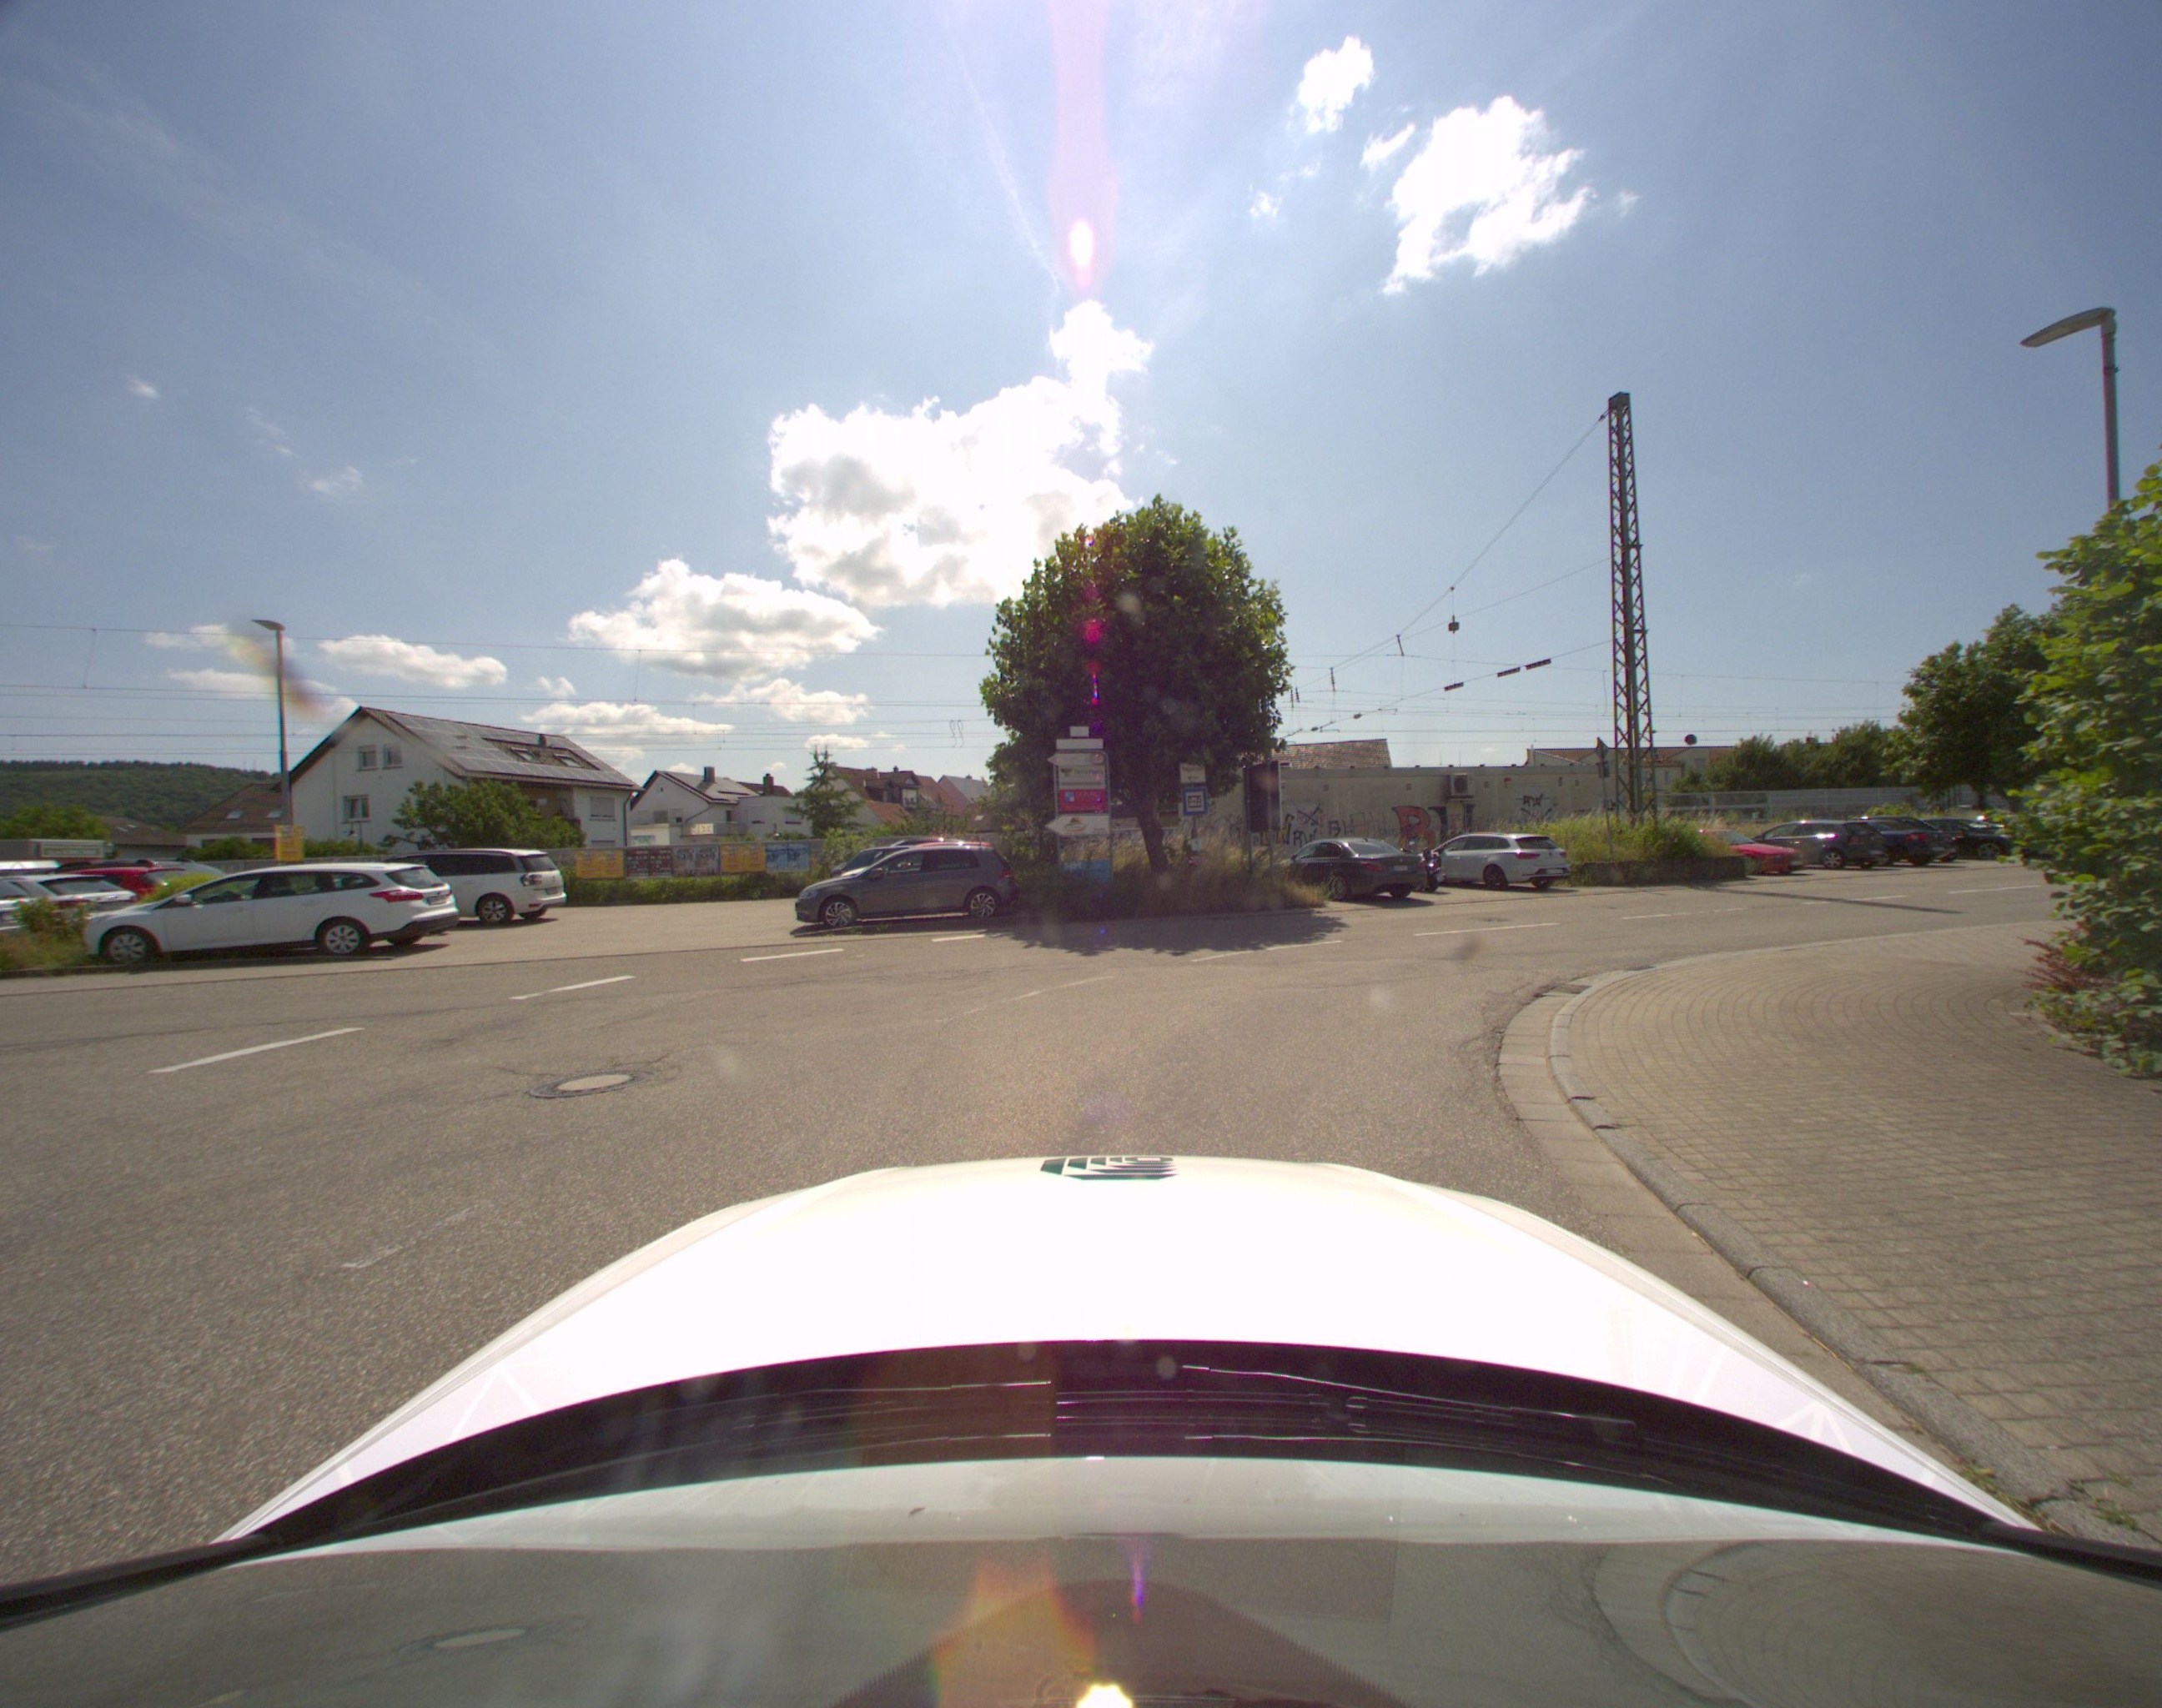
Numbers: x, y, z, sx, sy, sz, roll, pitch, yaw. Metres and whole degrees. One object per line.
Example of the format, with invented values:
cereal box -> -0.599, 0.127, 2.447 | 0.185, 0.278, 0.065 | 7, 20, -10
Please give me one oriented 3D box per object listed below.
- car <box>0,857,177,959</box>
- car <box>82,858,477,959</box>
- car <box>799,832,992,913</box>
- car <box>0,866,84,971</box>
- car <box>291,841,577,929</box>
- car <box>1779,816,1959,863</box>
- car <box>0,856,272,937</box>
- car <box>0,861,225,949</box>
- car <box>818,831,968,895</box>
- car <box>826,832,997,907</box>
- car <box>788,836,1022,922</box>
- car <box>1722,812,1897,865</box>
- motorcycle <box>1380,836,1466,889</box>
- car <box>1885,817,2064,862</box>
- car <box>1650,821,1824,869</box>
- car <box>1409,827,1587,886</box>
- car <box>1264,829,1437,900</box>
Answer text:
car -> -19.415, 1.017, 14.324 | 4.173, 1.638, 1.943 | -4, 1, -19
car -> -12.891, 0.817, 13.450 | 4.288, 1.477, 1.819 | 0, 0, -14
car -> -4.090, 0.383, 18.361 | 3.989, 1.586, 1.773 | -2, 0, -11
car -> -18.349, 1.050, 12.123 | 4.014, 1.562, 1.810 | -2, 0, -20
car -> -14.080, 0.616, 18.041 | 4.453, 1.690, 1.993 | -1, 2, -11
car -> 24.634, -0.427, 25.644 | 1.496, 1.366, 3.820 | -1, 0, -18
car -> -21.515, 0.911, 18.701 | 3.841, 1.589, 1.488 | -2, 1, -17
car -> -20.395, 1.013, 16.512 | 3.790, 1.558, 1.685 | -2, 1, -16
car -> -5.282, 0.246, 23.201 | 3.989, 1.730, 1.763 | 0, 0, -12
car -> -4.238, 0.347, 20.683 | 3.989, 1.657, 1.992 | -2, 1, -12
car -> -3.323, 0.436, 15.792 | 4.188, 1.463, 1.659 | -1, 0, -11
car -> 22.374, -0.432, 25.199 | 1.496, 1.471, 3.820 | 1, -1, -18
motorcycle -> 8.560, 0.184, 20.480 | 0.899, 1.228, 1.984 | -2, 2, -18
car -> 30.144, -0.466, 27.623 | 1.496, 1.424, 3.820 | -1, 0, -18
car -> 19.147, -0.219, 23.991 | 1.496, 1.279, 3.820 | 1, -1, -18
car -> 10.732, 0.000, 21.323 | 1.709, 1.377, 4.086 | -1, 2, -21
car -> 6.271, 0.153, 19.415 | 1.759, 1.385, 3.972 | -1, 4, -22
